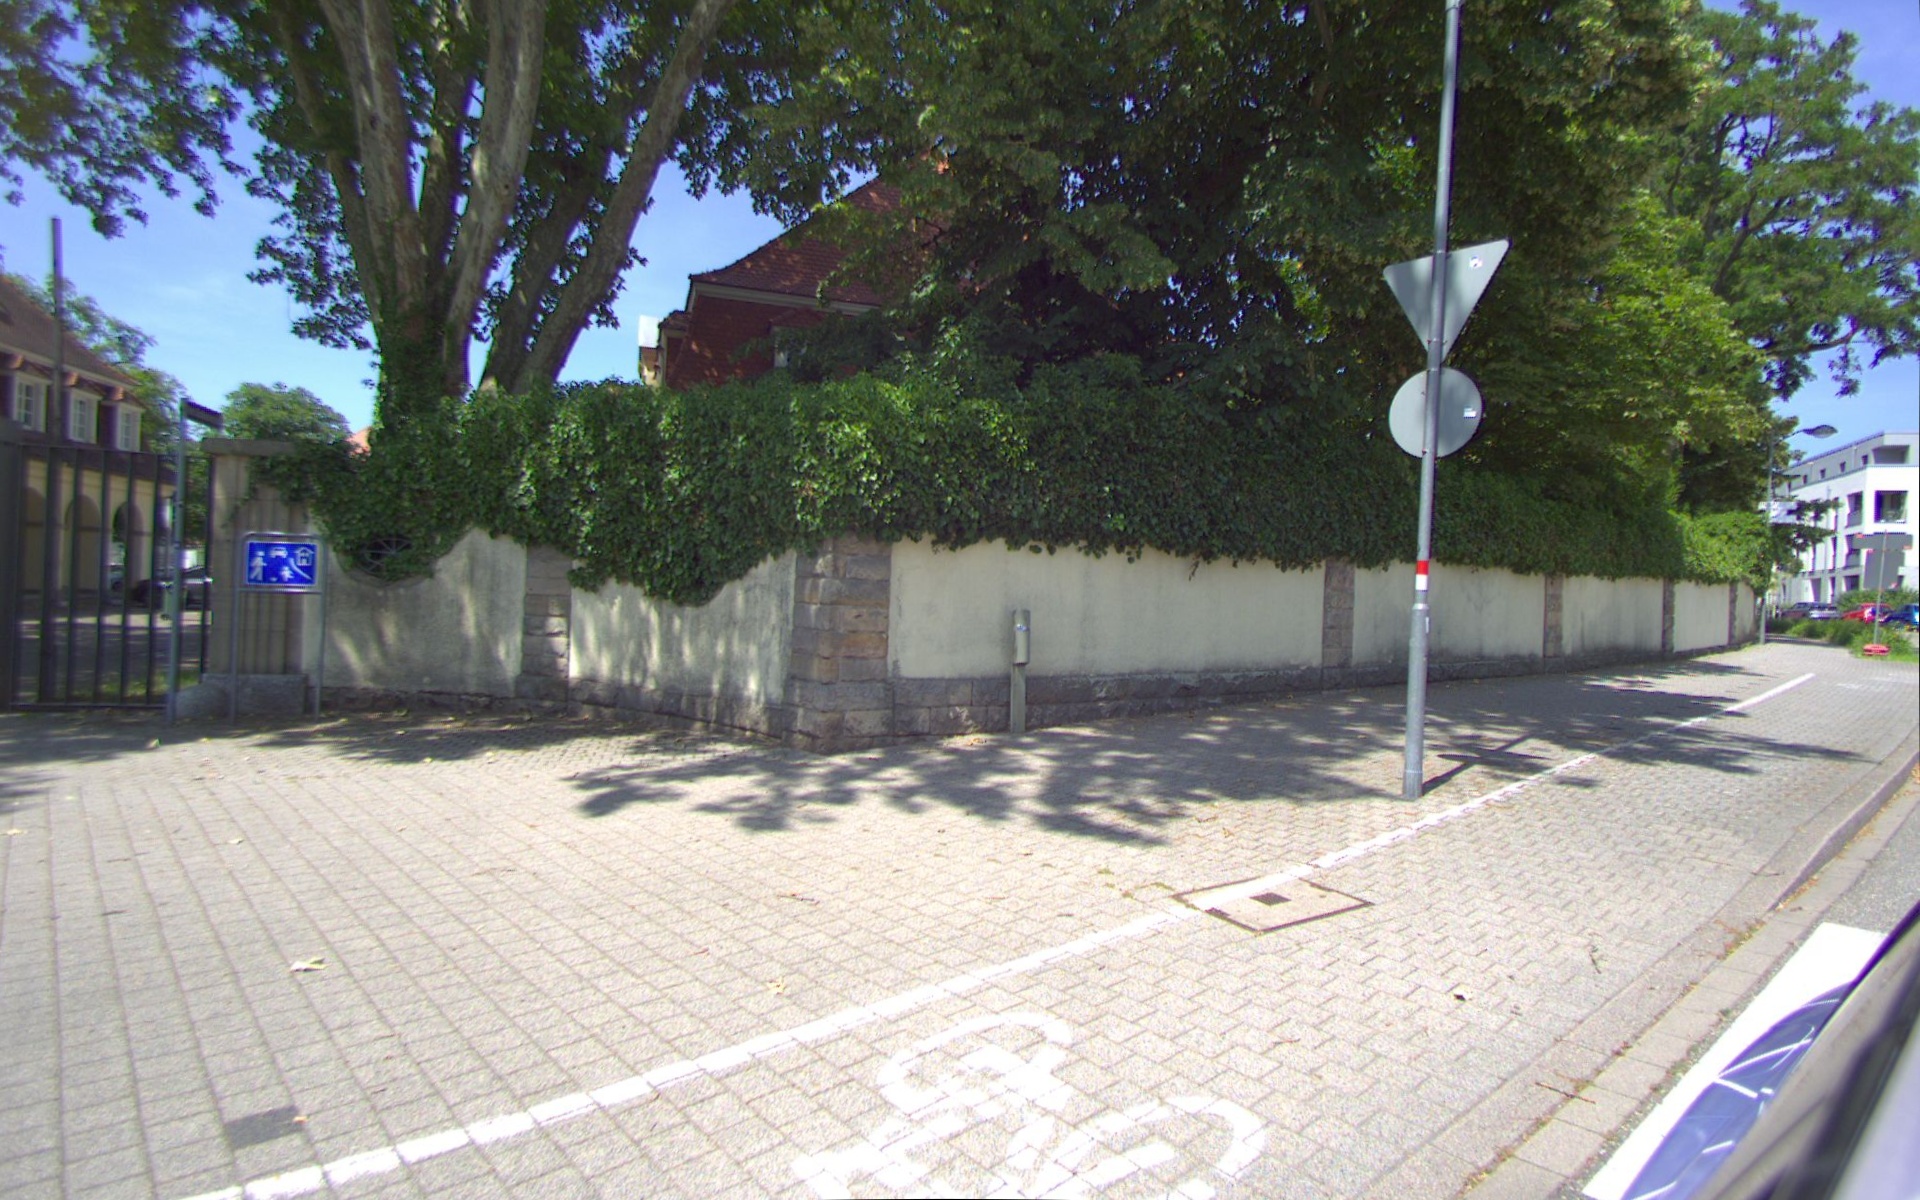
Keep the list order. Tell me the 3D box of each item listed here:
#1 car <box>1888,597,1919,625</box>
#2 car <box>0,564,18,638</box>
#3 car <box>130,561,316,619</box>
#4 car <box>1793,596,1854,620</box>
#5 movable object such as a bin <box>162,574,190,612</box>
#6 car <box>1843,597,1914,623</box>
[{"bbox_3d":[50.919,0.584,53.281,1.686,1.431,3.698,1,1,19],"label":"car"},{"bbox_3d":[-20.566,-0.177,18.498,4.408,1.420,2.004,6,-1,-14],"label":"car"},{"bbox_3d":[-24.034,-0.333,33.173,4.408,1.420,2.004,6,-1,-14],"label":"car"},{"bbox_3d":[54.915,0.480,64.400,1.686,1.431,3.698,1,1,19],"label":"car"},{"bbox_3d":[-21.343,-0.188,27.551,0.526,1.021,0.529,1,1,45],"label":"movable object such as a bin"},{"bbox_3d":[52.843,0.546,58.279,1.686,1.431,3.698,1,1,19],"label":"car"}]
